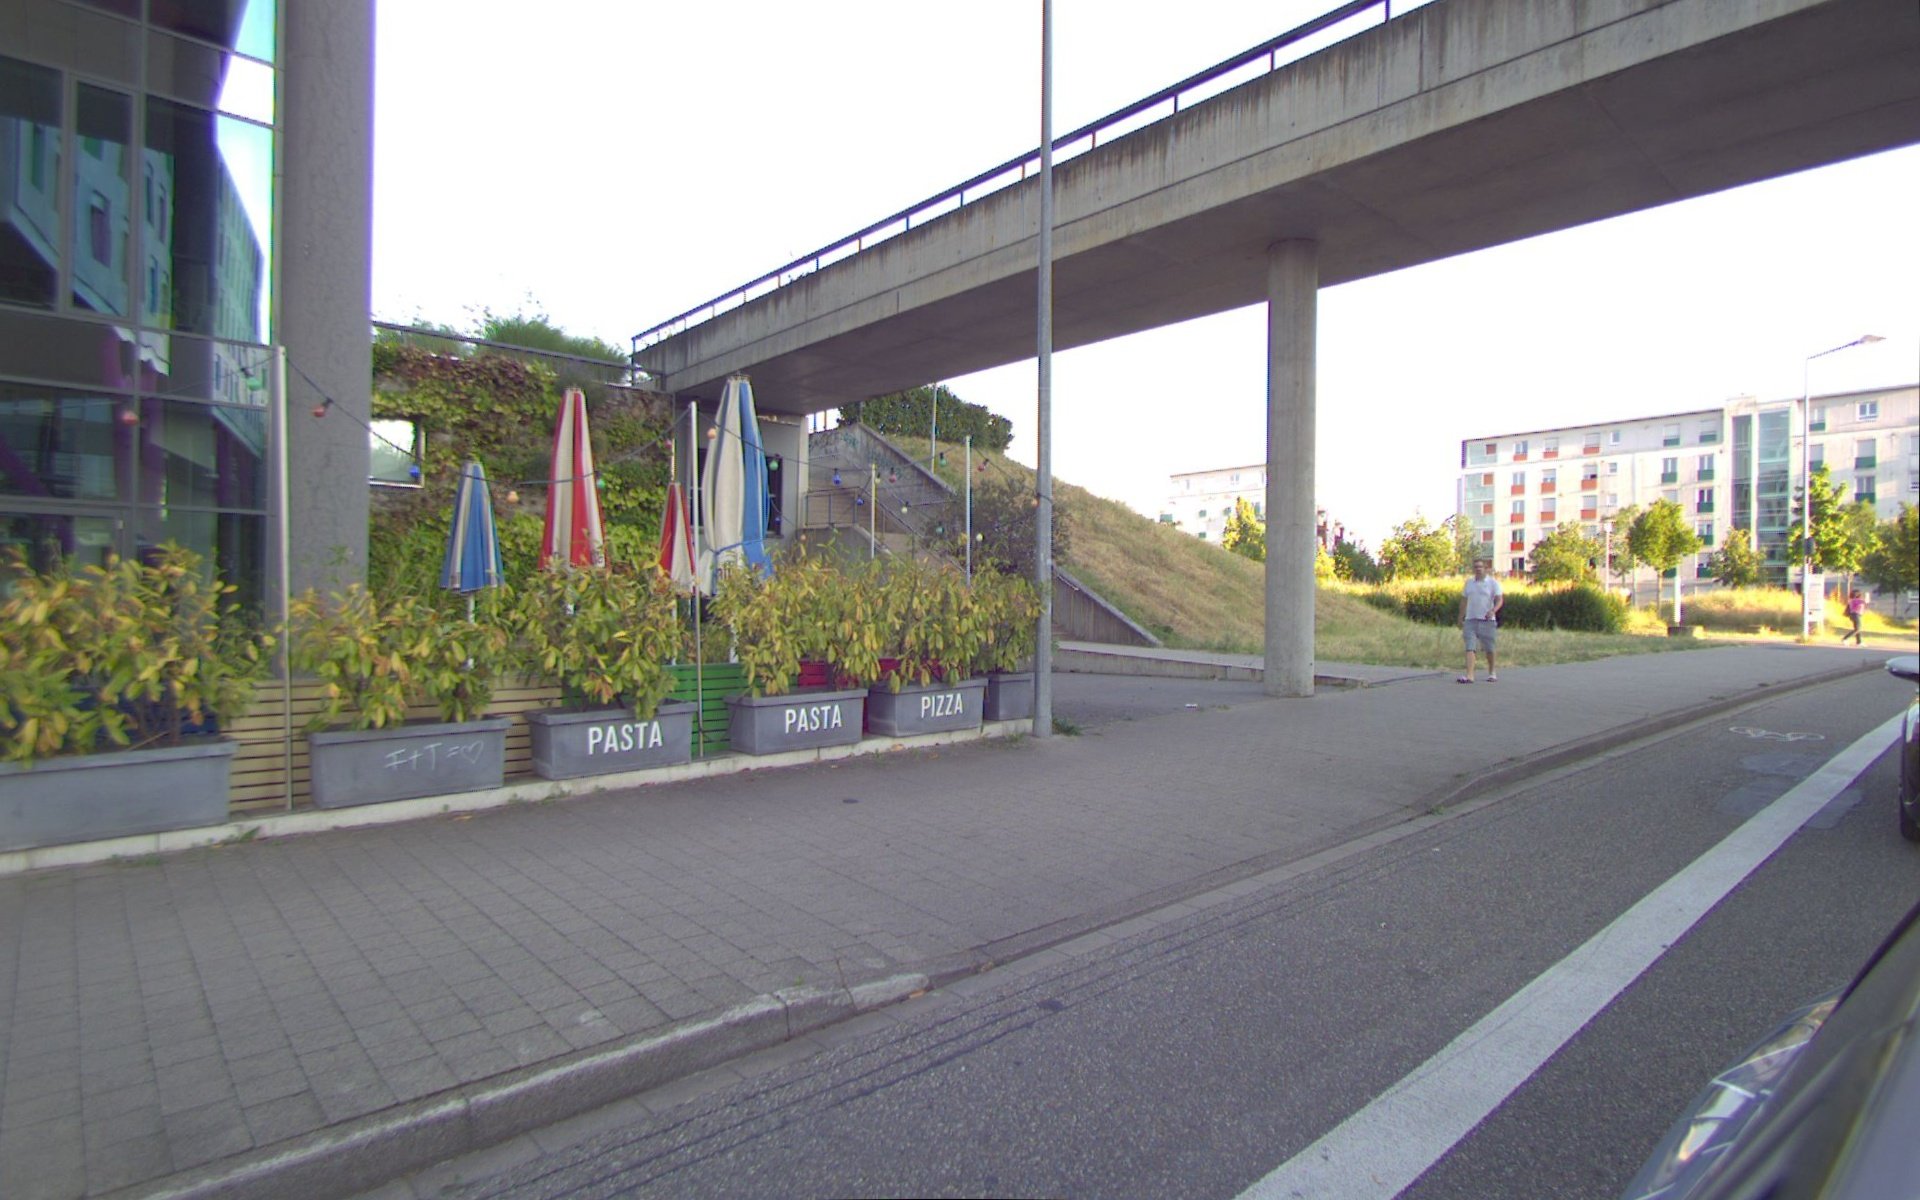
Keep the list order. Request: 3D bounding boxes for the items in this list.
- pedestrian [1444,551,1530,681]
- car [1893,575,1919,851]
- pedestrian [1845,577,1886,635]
[{"bbox_3d":[7.420,0.201,14.238,0.890,1.745,0.737,1,2,-40],"label":"pedestrian"},{"bbox_3d":[7.125,0.618,6.132,3.930,1.482,1.738,0,0,-41],"label":"car"},{"bbox_3d":[26.712,0.177,29.851,0.844,1.650,0.737,1,2,-40],"label":"pedestrian"}]
